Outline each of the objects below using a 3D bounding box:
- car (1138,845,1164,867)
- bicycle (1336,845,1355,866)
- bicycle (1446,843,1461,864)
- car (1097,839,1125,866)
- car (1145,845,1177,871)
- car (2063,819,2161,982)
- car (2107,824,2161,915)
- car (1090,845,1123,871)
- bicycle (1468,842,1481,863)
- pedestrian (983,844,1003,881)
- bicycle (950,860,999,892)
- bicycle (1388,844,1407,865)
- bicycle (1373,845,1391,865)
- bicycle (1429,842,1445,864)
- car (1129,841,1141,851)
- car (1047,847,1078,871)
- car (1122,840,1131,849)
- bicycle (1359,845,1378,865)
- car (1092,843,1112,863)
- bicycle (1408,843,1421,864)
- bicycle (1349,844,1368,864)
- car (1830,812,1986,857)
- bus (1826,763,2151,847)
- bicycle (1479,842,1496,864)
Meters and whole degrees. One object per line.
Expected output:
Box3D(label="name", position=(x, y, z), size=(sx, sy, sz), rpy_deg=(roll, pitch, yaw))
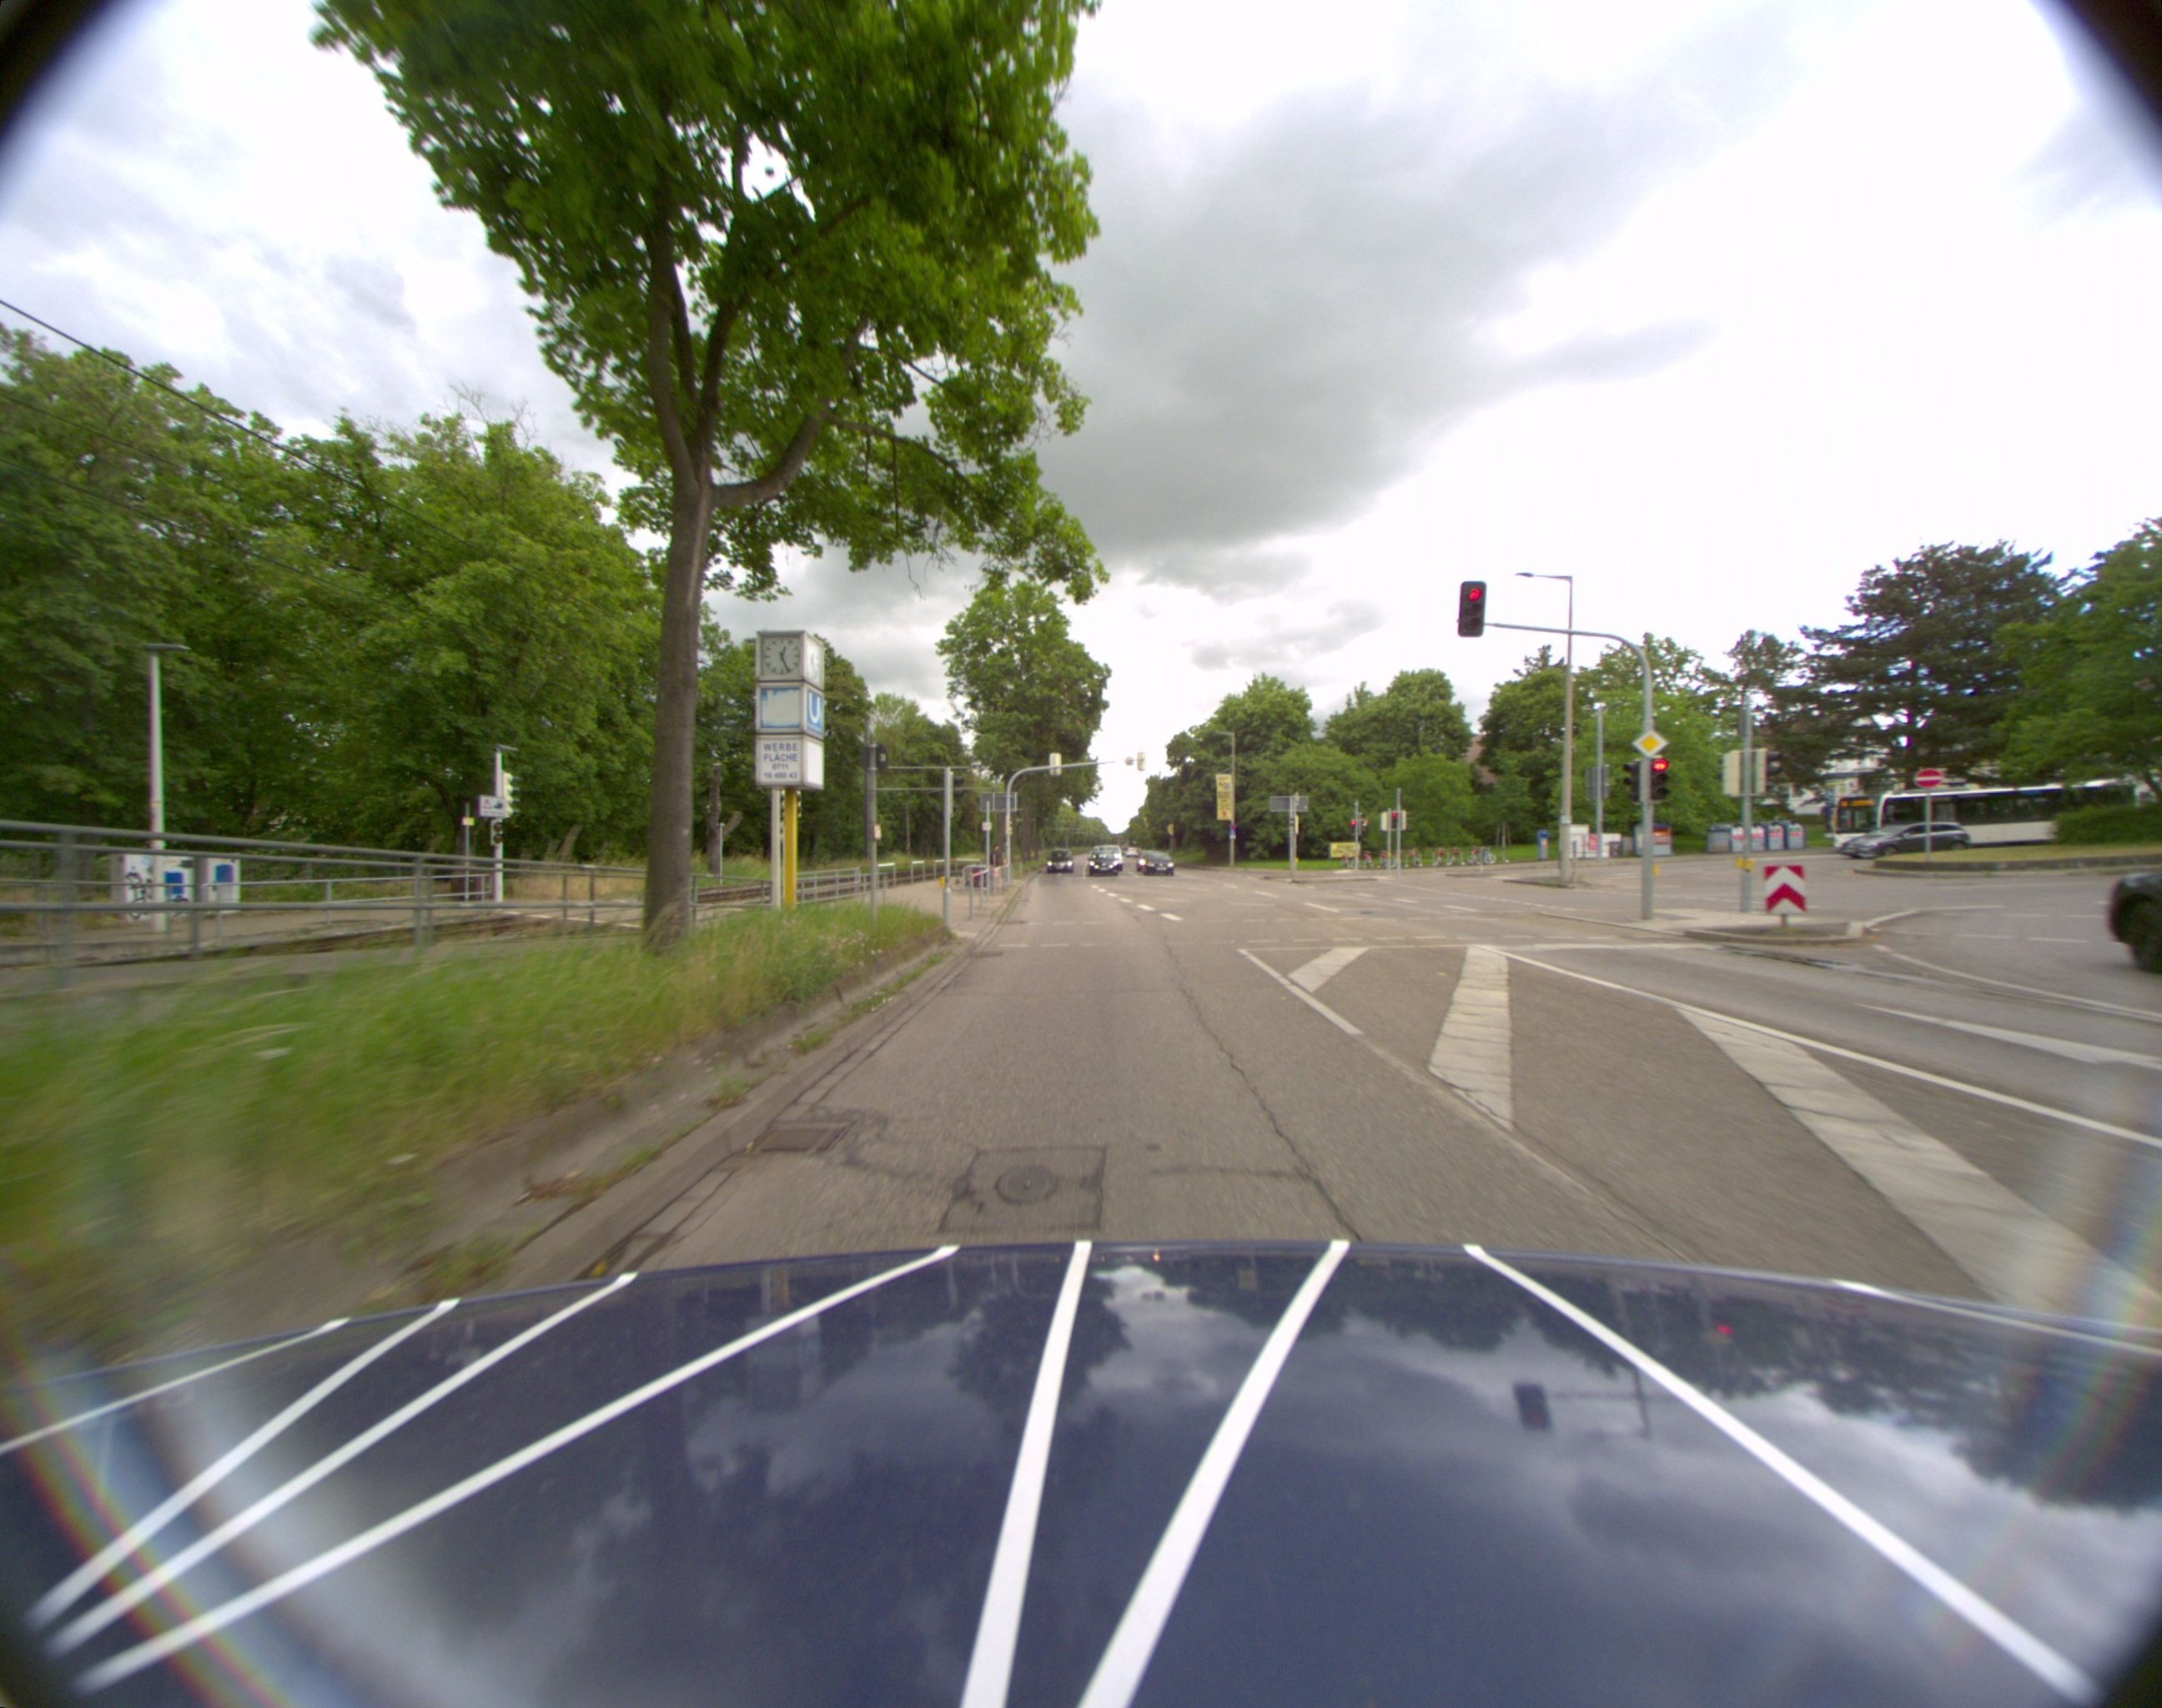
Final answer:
Box3D(label="car", position=(4.886, 0.139, 53.287), size=(1.595, 1.459, 3.929), rpy_deg=(1, 1, 3))
Box3D(label="bicycle", position=(17.403, 0.089, 50.047), size=(0.544, 1.245, 1.939), rpy_deg=(-1, 2, 39))
Box3D(label="bicycle", position=(23.031, -0.057, 46.949), size=(0.544, 1.245, 1.939), rpy_deg=(-1, 2, 34))
Box3D(label="car", position=(2.150, -0.133, 56.157), size=(1.911, 1.832, 5.281), rpy_deg=(-1, 1, 1))
Box3D(label="car", position=(4.744, 0.195, 45.378), size=(1.560, 1.458, 3.807), rpy_deg=(-1, 0, 1))
Box3D(label="car", position=(11.391, 0.489, 6.258), size=(1.903, 1.669, 5.089), rpy_deg=(0, 1, 25))
Box3D(label="car", position=(19.759, 0.189, 12.812), size=(4.346, 1.456, 1.744), rpy_deg=(-2, 1, -19))
Box3D(label="car", position=(1.491, 0.195, 45.679), size=(1.708, 1.472, 3.666), rpy_deg=(-1, 1, -2))
Box3D(label="bicycle", position=(24.111, -0.108, 46.589), size=(0.544, 1.245, 1.938), rpy_deg=(-1, 1, 24))
Box3D(label="pedestrian", position=(-4.183, 0.396, 36.158), size=(0.753, 1.727, 0.840), rpy_deg=(2, 1, 6))
Box3D(label="bicycle", position=(-3.856, 0.794, 27.675), size=(1.679, 1.084, 0.602), rpy_deg=(2, 1, -3))
Box3D(label="bicycle", position=(20.106, 0.028, 48.253), size=(0.544, 1.245, 1.939), rpy_deg=(-1, 2, 39))
Box3D(label="bicycle", position=(19.308, 0.049, 48.725), size=(0.544, 1.245, 1.939), rpy_deg=(-1, 2, 39))
Box3D(label="bicycle", position=(22.162, -0.067, 47.321), size=(0.544, 1.245, 1.939), rpy_deg=(-1, 2, 34))
Box3D(label="car", position=(9.075, -1.357, 126.940), size=(1.743, 1.530, 3.911), rpy_deg=(-2, 1, 7))
Box3D(label="car", position=(-1.252, 0.323, 52.070), size=(1.807, 1.520, 3.929), rpy_deg=(-2, 1, 3))
Box3D(label="car", position=(8.981, -1.871, 150.082), size=(1.743, 1.530, 3.910), rpy_deg=(-2, 1, 4))
Box3D(label="bicycle", position=(18.699, 0.060, 49.401), size=(0.544, 1.245, 1.939), rpy_deg=(-1, 2, 39))
Box3D(label="car", position=(1.988, -0.155, 73.250), size=(1.807, 1.784, 4.503), rpy_deg=(-2, 1, 1))
Box3D(label="bicycle", position=(21.009, -0.034, 47.846), size=(0.544, 1.245, 1.937), rpy_deg=(-2, 1, 18))
Box3D(label="bicycle", position=(18.258, -0.032, 50.019), size=(0.544, 1.245, 1.939), rpy_deg=(-1, 1, 39))
Box3D(label="car", position=(38.012, -0.902, 35.024), size=(4.740, 1.842, 2.000), rpy_deg=(-2, 1, 6))
Box3D(label="bus", position=(45.544, -2.388, 38.443), size=(12.336, 3.145, 2.680), rpy_deg=(-4, 1, 4))
Box3D(label="bicycle", position=(24.773, -0.073, 46.318), size=(0.544, 1.245, 1.937), rpy_deg=(-2, 1, 18))
